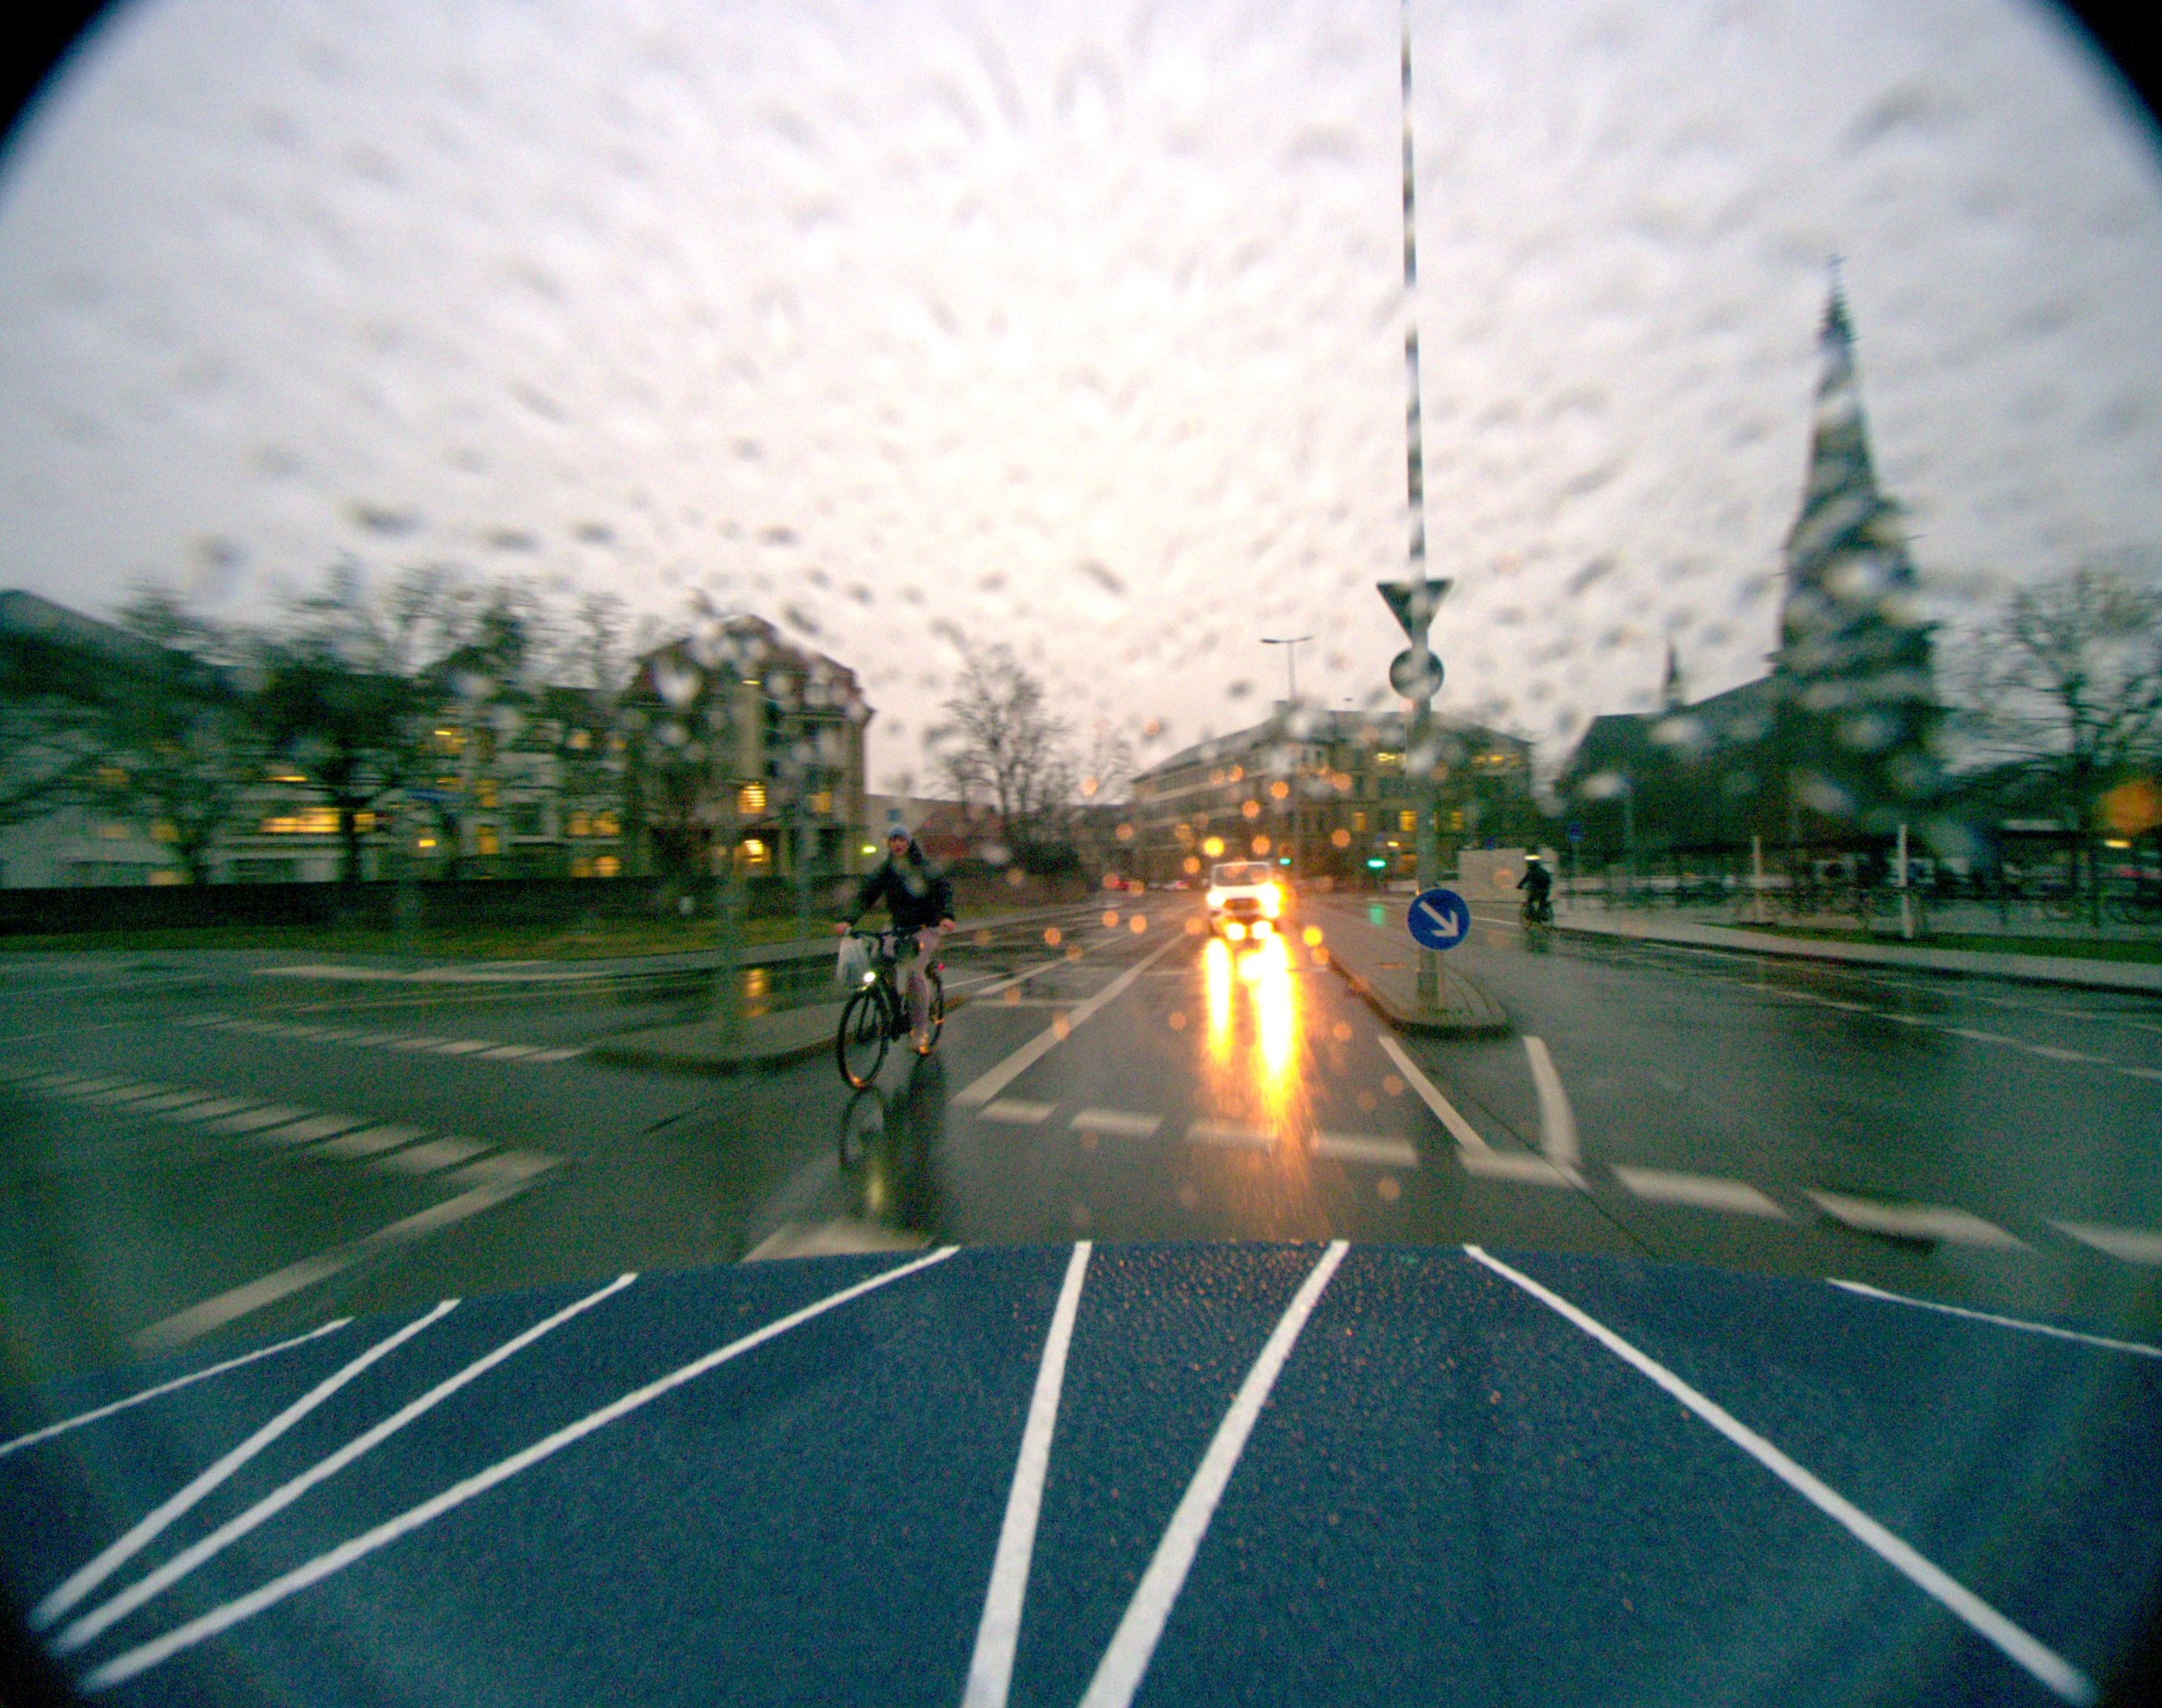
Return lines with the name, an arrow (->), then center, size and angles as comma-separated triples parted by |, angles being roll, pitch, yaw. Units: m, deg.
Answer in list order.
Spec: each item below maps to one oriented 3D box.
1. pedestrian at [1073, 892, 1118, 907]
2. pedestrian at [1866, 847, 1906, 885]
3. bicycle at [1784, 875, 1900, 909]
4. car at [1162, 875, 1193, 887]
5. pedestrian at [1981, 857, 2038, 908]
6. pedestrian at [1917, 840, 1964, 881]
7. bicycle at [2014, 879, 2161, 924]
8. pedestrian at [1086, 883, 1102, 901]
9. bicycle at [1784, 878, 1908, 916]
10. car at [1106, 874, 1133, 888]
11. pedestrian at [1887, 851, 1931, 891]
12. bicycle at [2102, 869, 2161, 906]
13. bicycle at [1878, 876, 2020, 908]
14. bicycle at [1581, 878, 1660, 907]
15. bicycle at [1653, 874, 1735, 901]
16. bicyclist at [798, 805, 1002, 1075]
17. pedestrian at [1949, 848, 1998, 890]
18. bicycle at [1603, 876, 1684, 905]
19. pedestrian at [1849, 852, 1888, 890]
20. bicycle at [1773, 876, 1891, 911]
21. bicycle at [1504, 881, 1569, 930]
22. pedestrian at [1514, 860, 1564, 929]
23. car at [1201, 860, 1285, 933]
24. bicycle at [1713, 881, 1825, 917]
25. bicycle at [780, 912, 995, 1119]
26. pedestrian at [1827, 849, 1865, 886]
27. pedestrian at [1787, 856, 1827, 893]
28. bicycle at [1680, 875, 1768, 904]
pedestrian -> 1.088, 3.345, 55.643 | 3.101, 0.924, 0.947 | -3, -2, -17
pedestrian -> 39.510, 0.591, 37.294 | 1.033, 1.838, 0.803 | -1, -2, 13
bicycle -> 26.374, 1.308, 26.418 | 0.648, 1.098, 2.745 | -2, -1, -28
car -> 12.694, 3.593, 100.391 | 1.892, 1.520, 3.991 | 0, -2, -33
pedestrian -> 32.160, 0.979, 26.326 | 0.815, 1.671, 0.849 | -6, 0, 12
pedestrian -> 40.533, 0.324, 35.845 | 1.034, 1.838, 0.849 | -4, -2, 11
bicycle -> 26.853, 1.233, 20.033 | 0.609, 1.098, 2.746 | -3, -1, -25
pedestrian -> 0.937, 2.793, 55.645 | 0.983, 1.308, 0.814 | 0, -1, -17
bicycle -> 24.565, 1.386, 24.489 | 0.647, 1.097, 2.748 | -3, -2, -19
car -> 5.803, 4.145, 115.659 | 2.144, 1.998, 4.562 | 0, -2, -27
pedestrian -> 40.123, 0.830, 36.850 | 1.034, 1.838, 0.849 | -4, -2, 12
bicycle -> 32.546, 0.980, 22.441 | 0.647, 1.097, 2.748 | -3, -2, -19
bicycle -> 30.406, 1.325, 26.732 | 0.796, 1.043, 3.189 | -1, -2, -23
bicycle -> 22.092, 1.591, 31.195 | 0.647, 1.097, 2.748 | -3, -2, -19
bicycle -> 26.692, 1.490, 33.154 | 0.647, 1.097, 2.747 | -3, -2, -22
bicyclist -> -1.368, 0.609, 6.000 | 1.025, 1.872, 1.237 | -2, 0, 16
pedestrian -> 40.455, 0.692, 34.454 | 1.034, 1.838, 0.849 | -4, -2, 12
bicycle -> 23.246, 1.532, 31.498 | 0.647, 1.097, 2.748 | -3, -2, -19
pedestrian -> 39.619, 0.858, 38.232 | 1.033, 1.838, 0.849 | -1, -1, 13
bicycle -> 25.684, 1.372, 26.052 | 0.648, 1.097, 2.746 | -2, -2, -28
bicycle -> 11.659, 1.301, 19.509 | 0.623, 1.169, 1.874 | 0, -1, 3
pedestrian -> 11.684, 1.023, 19.409 | 0.717, 1.723, 0.982 | 0, -1, 2
car -> 4.955, 1.247, 23.214 | 2.135, 1.909, 5.023 | -4, -2, 13
bicycle -> 22.953, 1.495, 25.447 | 0.647, 1.097, 2.748 | -3, -2, -19
bicycle -> -1.418, 1.150, 6.034 | 0.793, 1.215, 1.906 | -2, 0, 14
pedestrian -> 39.464, 0.698, 39.195 | 1.033, 1.838, 0.849 | -1, -1, 13
pedestrian -> 38.100, 1.084, 39.872 | 1.049, 1.838, 0.849 | -6, -3, 12
bicycle -> 26.193, 1.463, 31.032 | 0.647, 1.097, 2.748 | -3, -2, -19
